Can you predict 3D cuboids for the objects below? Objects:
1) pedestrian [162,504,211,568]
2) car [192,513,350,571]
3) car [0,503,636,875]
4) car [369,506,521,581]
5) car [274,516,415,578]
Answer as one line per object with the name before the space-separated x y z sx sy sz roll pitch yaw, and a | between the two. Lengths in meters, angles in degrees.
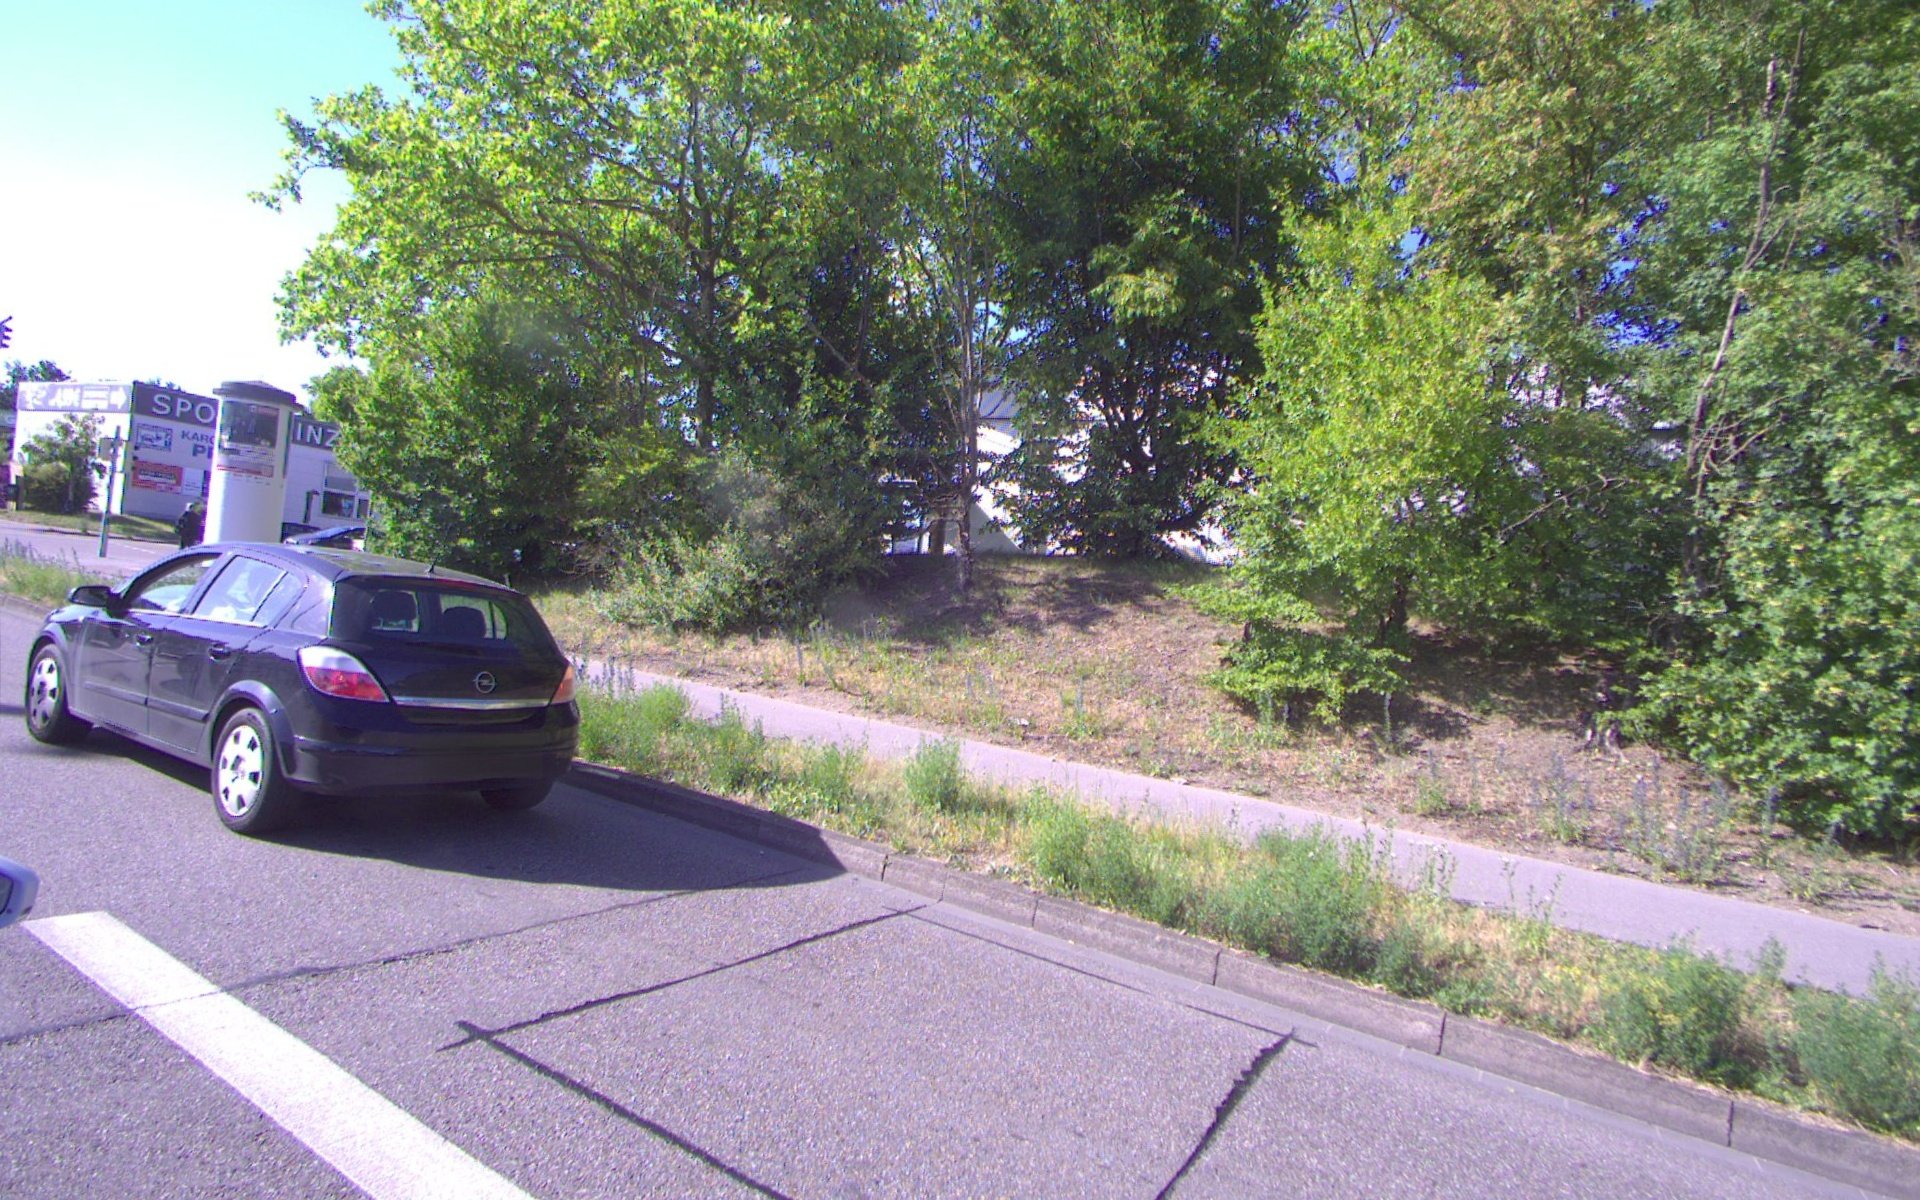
pedestrian | -22.039 -1.813 28.669 0.506 1.688 0.818 6 -1 31
car | -27.327 -2.259 40.104 1.729 1.484 4.831 6 -2 30
car | -4.271 0.374 6.344 4.299 1.458 1.737 7 -2 32
car | -23.574 -2.527 46.321 1.967 2.706 5.840 6 0 32
car | -23.939 -2.032 39.279 1.611 1.668 4.316 6 -2 31
